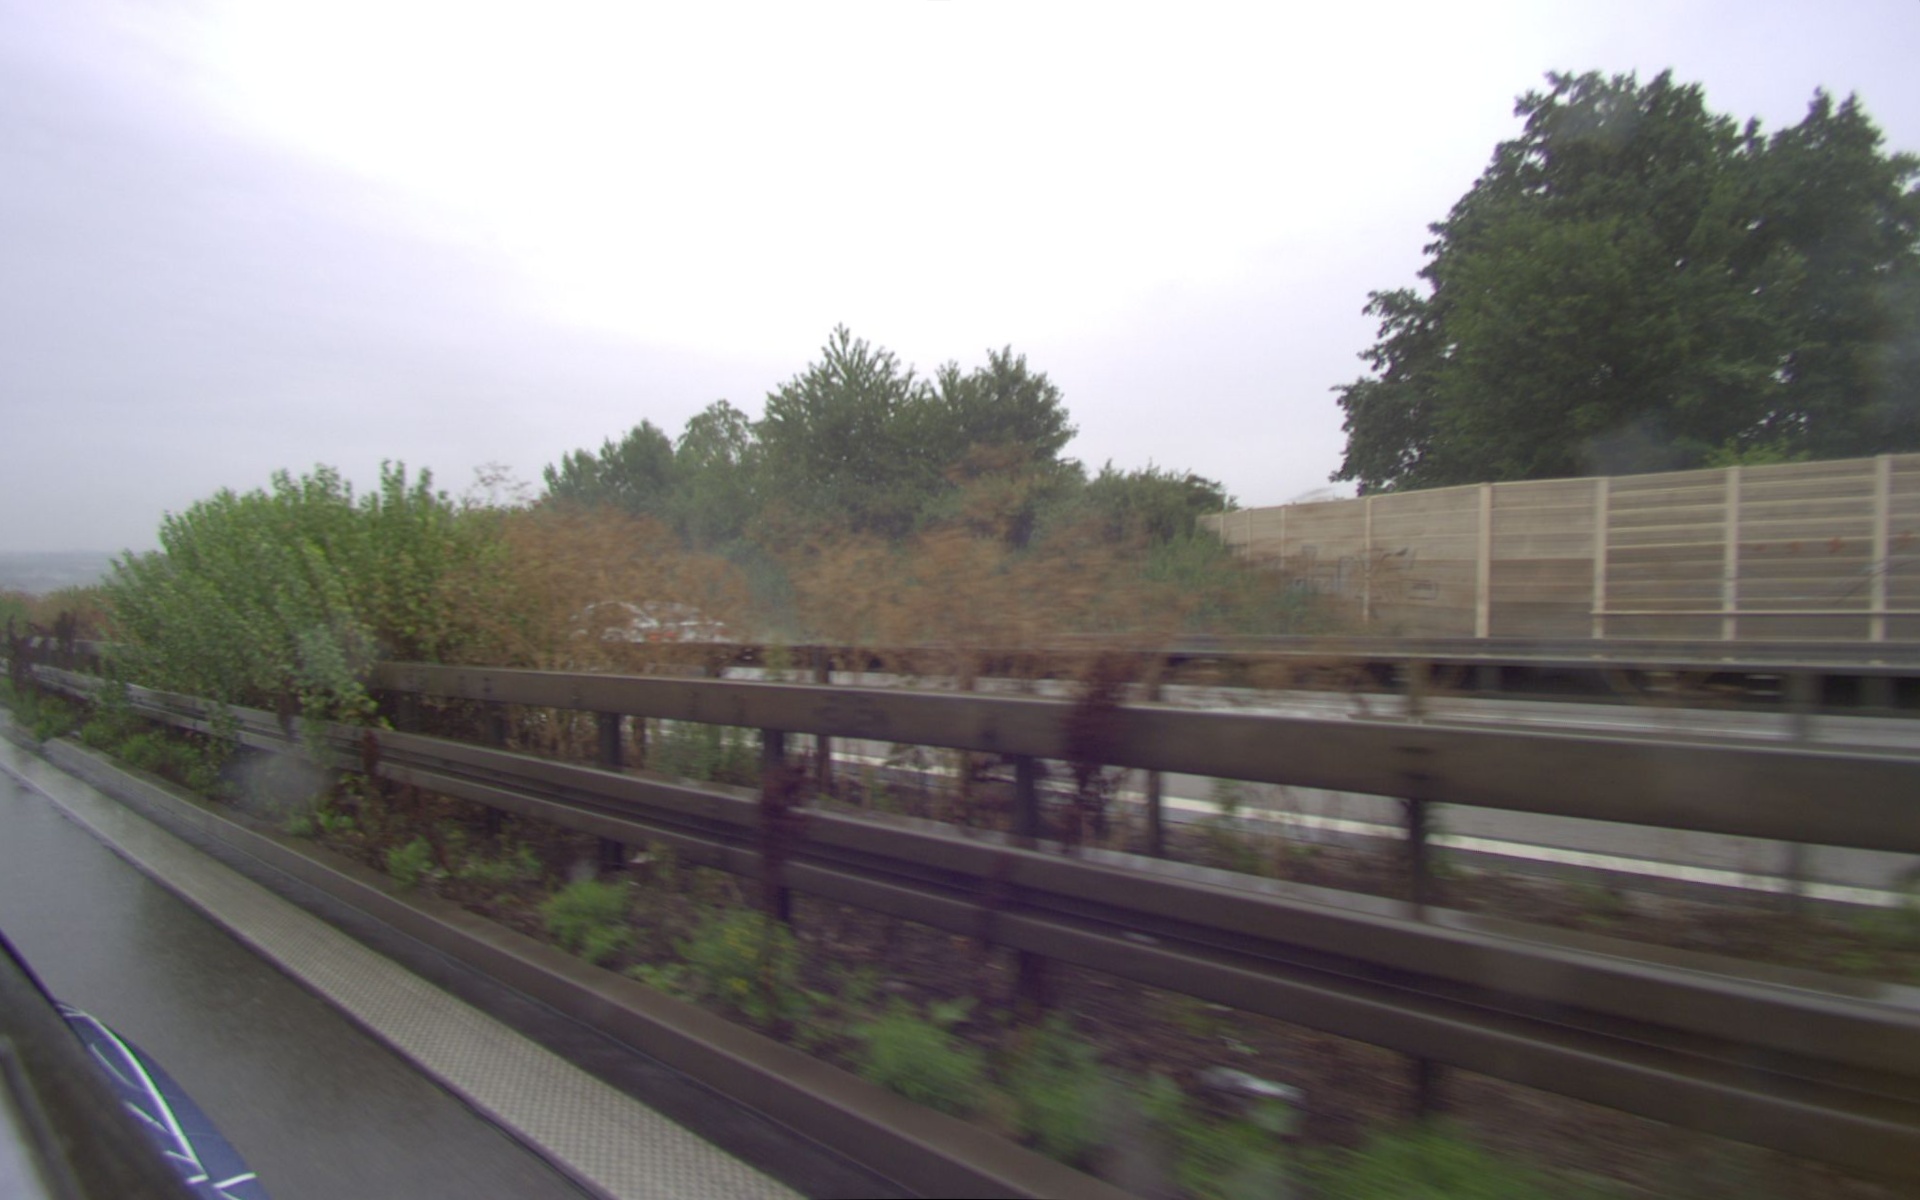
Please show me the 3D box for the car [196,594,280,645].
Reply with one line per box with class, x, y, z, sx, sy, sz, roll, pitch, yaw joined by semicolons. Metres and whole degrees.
car;-42.612;1.178;59.619;7.424;2.846;2.519;-2;-1;43
